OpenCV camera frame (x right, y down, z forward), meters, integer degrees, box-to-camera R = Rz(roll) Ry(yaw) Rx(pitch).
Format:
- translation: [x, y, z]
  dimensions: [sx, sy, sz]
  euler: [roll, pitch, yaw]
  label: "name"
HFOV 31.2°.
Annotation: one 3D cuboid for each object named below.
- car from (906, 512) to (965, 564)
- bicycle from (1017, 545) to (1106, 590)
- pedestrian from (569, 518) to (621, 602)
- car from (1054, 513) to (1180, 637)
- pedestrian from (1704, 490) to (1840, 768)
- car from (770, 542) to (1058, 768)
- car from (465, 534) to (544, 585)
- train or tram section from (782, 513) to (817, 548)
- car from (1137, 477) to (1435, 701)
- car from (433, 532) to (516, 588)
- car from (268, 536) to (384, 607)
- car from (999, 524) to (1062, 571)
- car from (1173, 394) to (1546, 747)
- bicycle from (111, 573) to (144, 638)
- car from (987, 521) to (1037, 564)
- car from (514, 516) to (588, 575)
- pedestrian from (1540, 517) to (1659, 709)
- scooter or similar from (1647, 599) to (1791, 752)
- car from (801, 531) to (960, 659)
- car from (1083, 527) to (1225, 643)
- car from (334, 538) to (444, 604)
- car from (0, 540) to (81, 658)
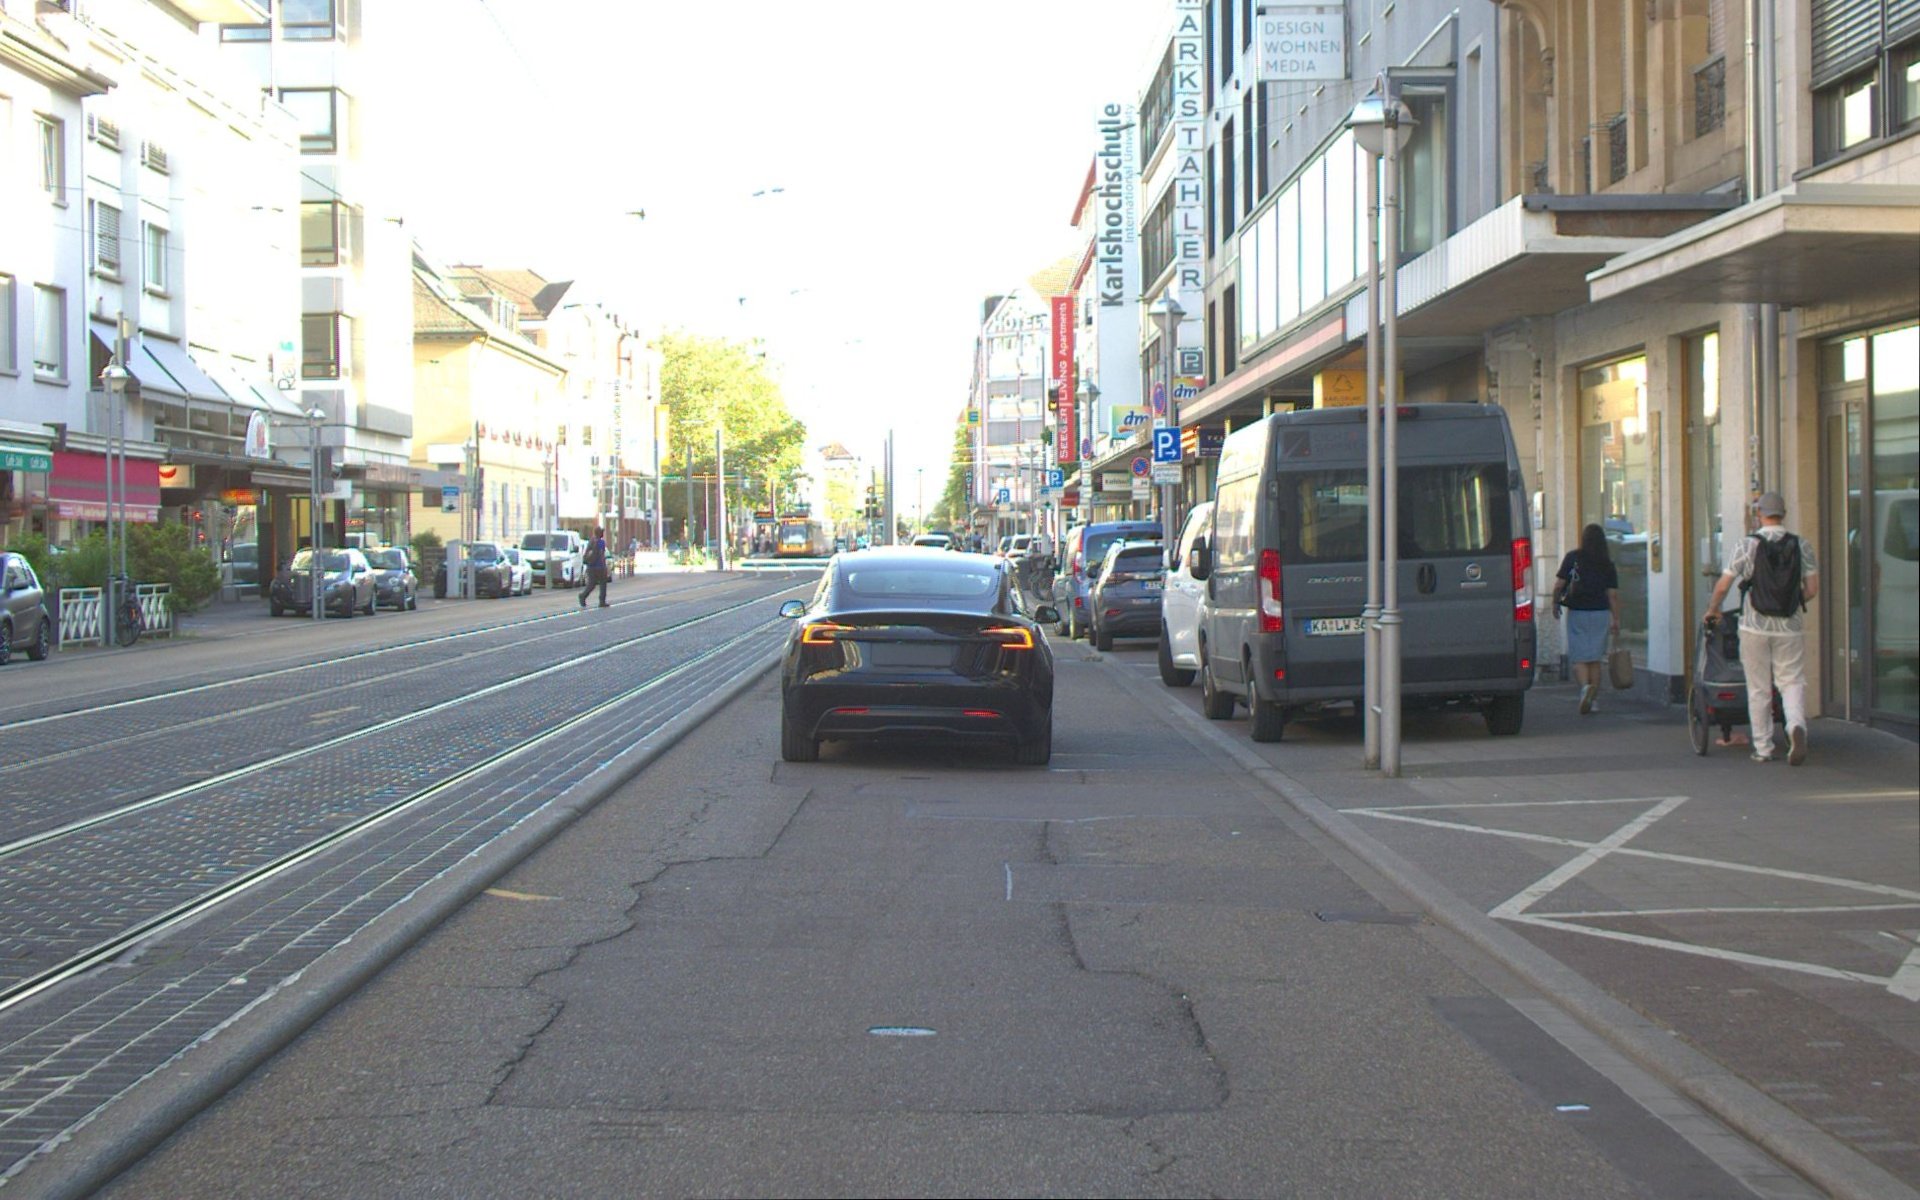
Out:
- translation: [-0.864, -2.249, 123.890]
  dimensions: [2.085, 1.864, 3.754]
  euler: [0, 1, 0]
  label: "car"
- translation: [2.533, -0.822, 85.942]
  dimensions: [2.159, 1.093, 0.686]
  euler: [-1, 1, -2]
  label: "bicycle"
- translation: [-8.045, -0.879, 75.825]
  dimensions: [0.773, 1.842, 0.827]
  euler: [0, 1, 31]
  label: "pedestrian"
- translation: [2.425, -0.424, 53.868]
  dimensions: [1.821, 1.864, 3.754]
  euler: [0, 1, 0]
  label: "car"
- translation: [5.166, 0.173, 21.903]
  dimensions: [0.556, 1.708, 0.955]
  euler: [-2, 1, -1]
  label: "pedestrian"
- translation: [-0.292, 0.319, 24.507]
  dimensions: [1.869, 1.422, 4.365]
  euler: [0, 1, 0]
  label: "car"
- translation: [-13.916, -1.244, 105.159]
  dimensions: [1.770, 1.503, 3.972]
  euler: [-1, 1, 2]
  label: "car"
- translation: [-12.123, -5.286, 259.789]
  dimensions: [1.994, 2.625, 6.801]
  euler: [0, 1, 3]
  label: "train or tram section"
- translation: [3.116, -0.158, 33.889]
  dimensions: [2.158, 1.920, 4.618]
  euler: [-4, 2, -3]
  label: "car"
- translation: [-14.000, -1.168, 99.331]
  dimensions: [1.718, 1.566, 3.849]
  euler: [-1, 1, 2]
  label: "car"
- translation: [-13.956, -0.644, 75.846]
  dimensions: [1.770, 1.503, 3.864]
  euler: [-1, 1, 1]
  label: "car"
- translation: [2.336, -1.749, 114.754]
  dimensions: [1.993, 1.537, 4.000]
  euler: [0, 0, 0]
  label: "car"
- translation: [3.037, -0.278, 27.355]
  dimensions: [2.171, 2.453, 5.362]
  euler: [-2, 1, -1]
  label: "car"
- translation: [-13.234, 0.076, 54.627]
  dimensions: [0.368, 0.999, 1.605]
  euler: [-1, 1, -18]
  label: "bicycle"
- translation: [2.146, -2.385, 143.249]
  dimensions: [1.993, 1.747, 4.000]
  euler: [0, 0, 0]
  label: "car"
- translation: [-14.077, -1.886, 118.531]
  dimensions: [2.009, 1.954, 4.725]
  euler: [-1, 1, 0]
  label: "car"
- translation: [5.280, 0.097, 28.422]
  dimensions: [0.769, 1.538, 0.804]
  euler: [-2, 1, 0]
  label: "pedestrian"
- translation: [5.022, 0.486, 22.803]
  dimensions: [0.593, 0.933, 1.299]
  euler: [-2, 1, -2]
  label: "scooter or similar"
- translation: [-0.940, -0.077, 40.561]
  dimensions: [1.761, 1.414, 4.355]
  euler: [0, 0, -1]
  label: "car"
- translation: [2.656, -0.243, 47.731]
  dimensions: [1.751, 1.494, 3.754]
  euler: [-1, 1, 0]
  label: "car"
- translation: [-13.594, -0.704, 81.979]
  dimensions: [1.770, 1.503, 3.860]
  euler: [-1, 1, 3]
  label: "car"
- translation: [-13.574, -0.051, 47.724]
  dimensions: [1.675, 1.540, 3.743]
  euler: [1, 1, 2]
  label: "car"
